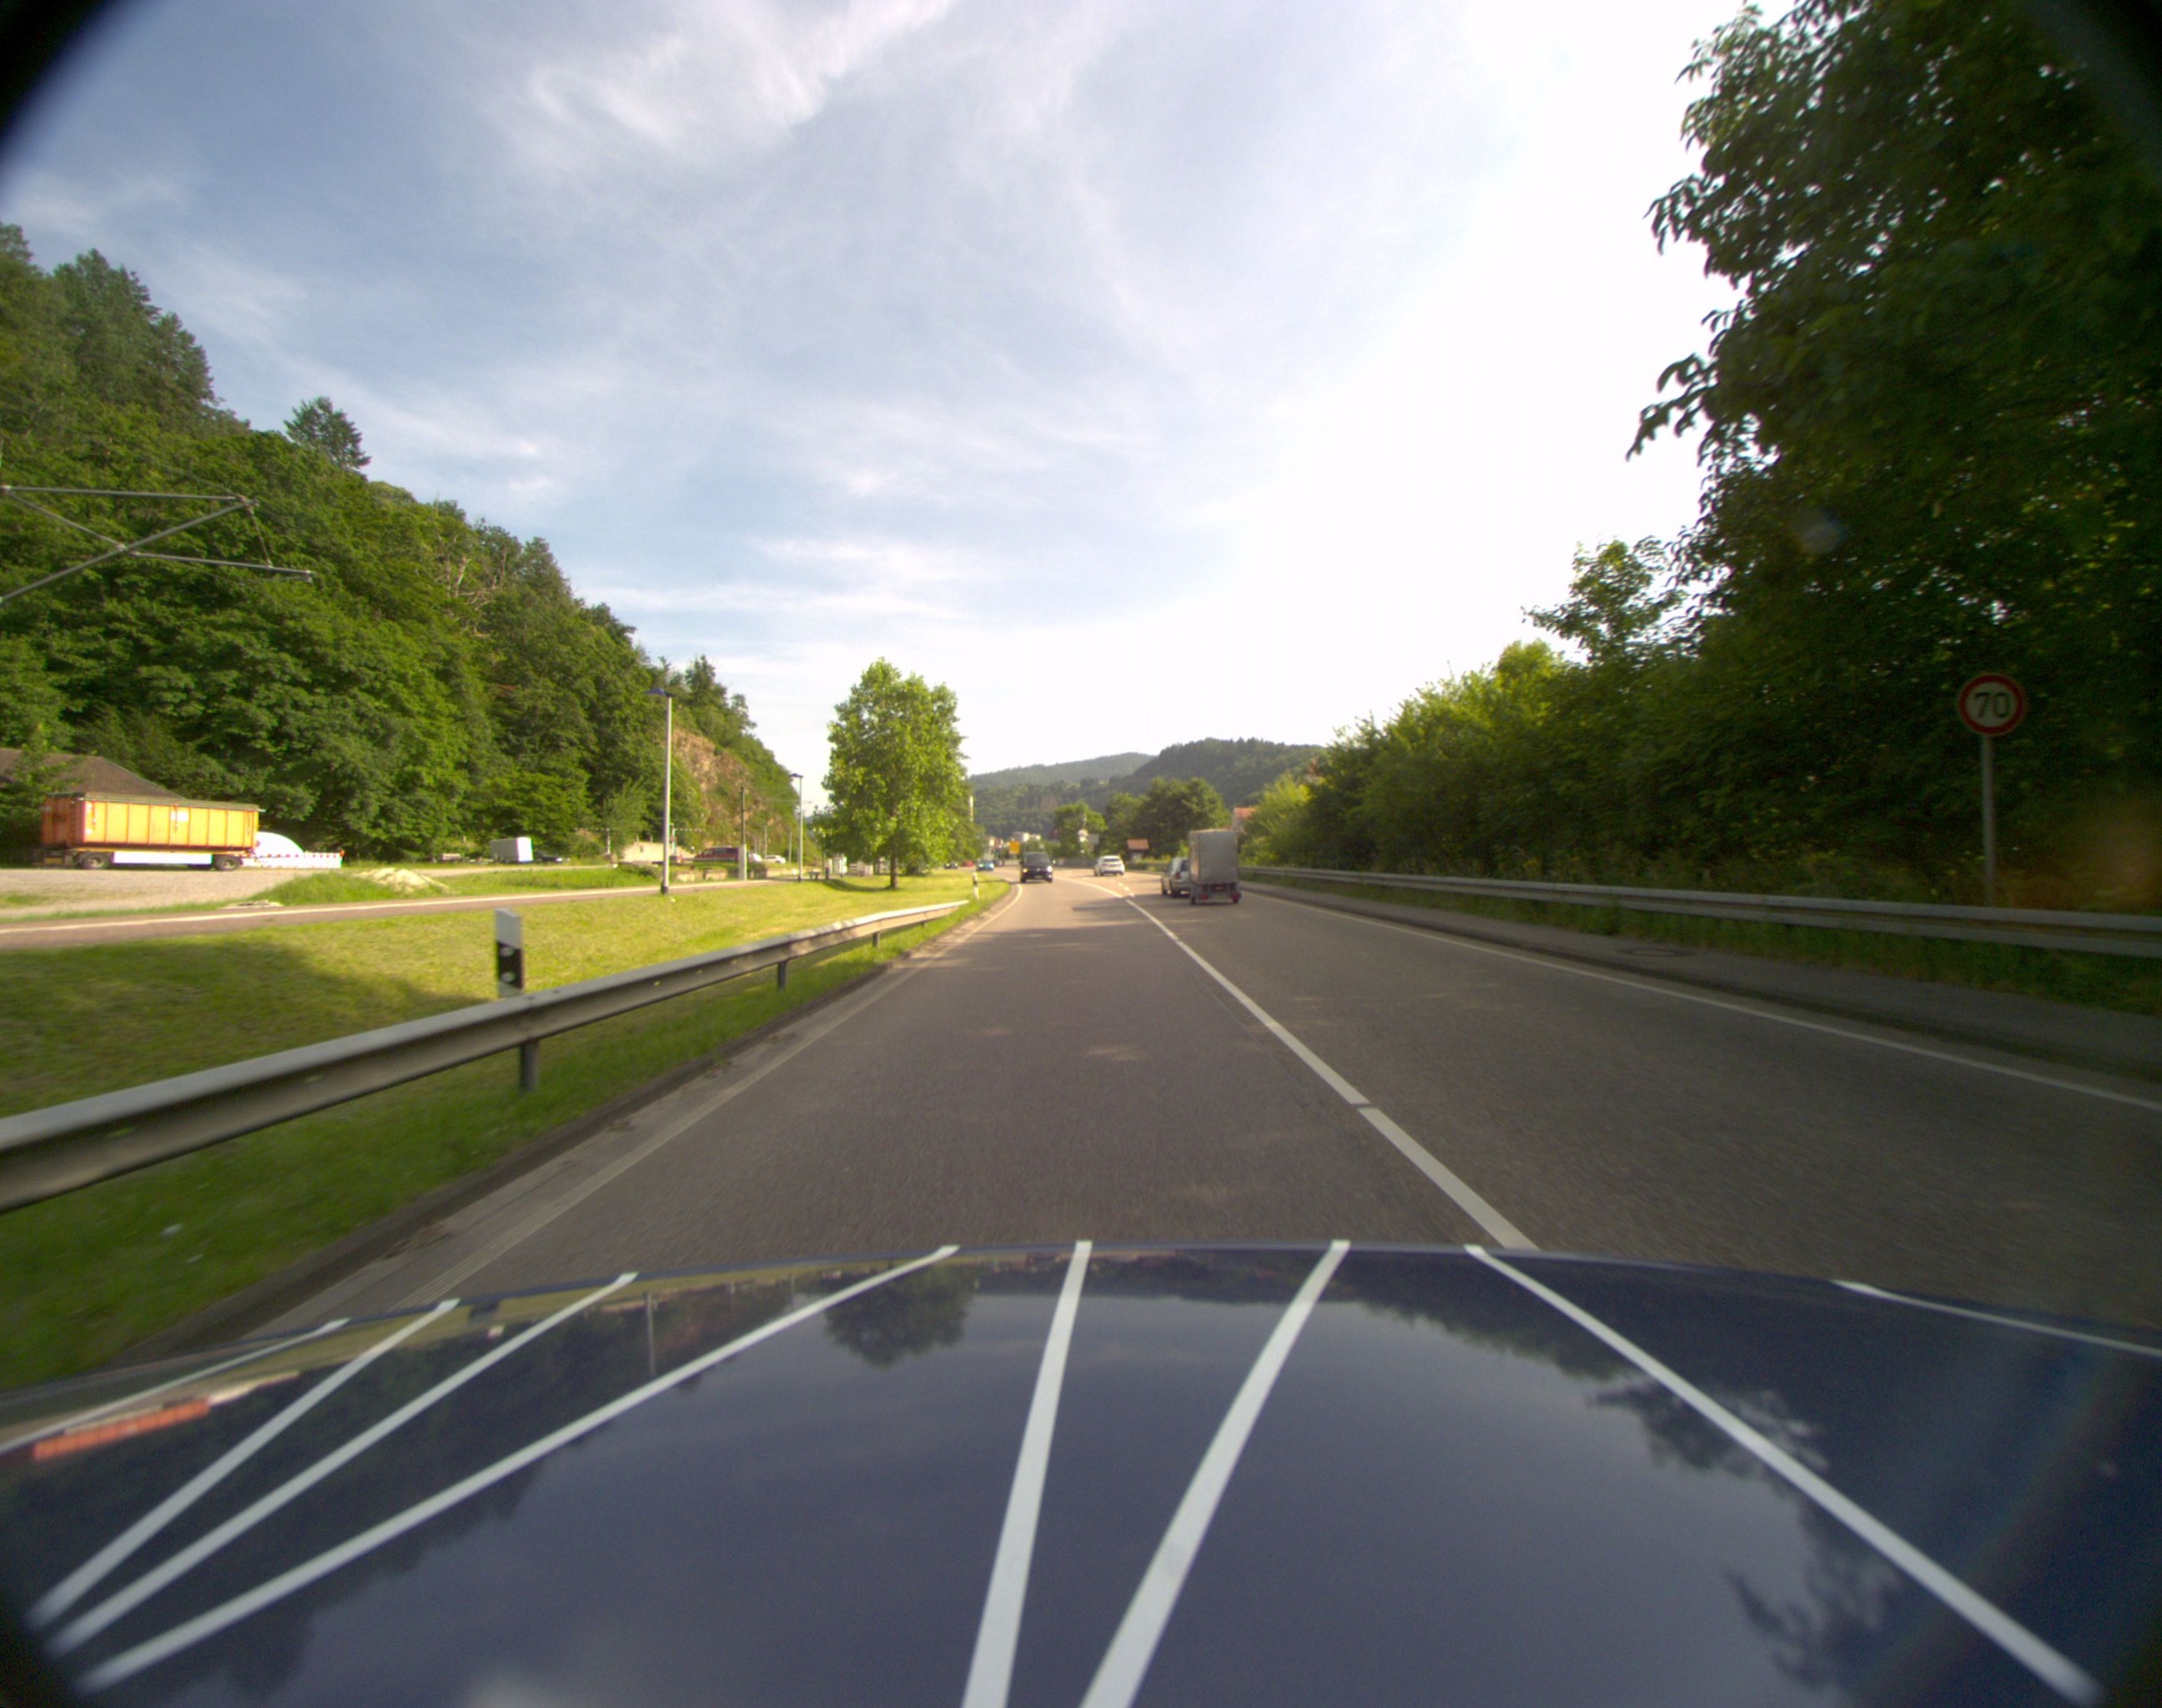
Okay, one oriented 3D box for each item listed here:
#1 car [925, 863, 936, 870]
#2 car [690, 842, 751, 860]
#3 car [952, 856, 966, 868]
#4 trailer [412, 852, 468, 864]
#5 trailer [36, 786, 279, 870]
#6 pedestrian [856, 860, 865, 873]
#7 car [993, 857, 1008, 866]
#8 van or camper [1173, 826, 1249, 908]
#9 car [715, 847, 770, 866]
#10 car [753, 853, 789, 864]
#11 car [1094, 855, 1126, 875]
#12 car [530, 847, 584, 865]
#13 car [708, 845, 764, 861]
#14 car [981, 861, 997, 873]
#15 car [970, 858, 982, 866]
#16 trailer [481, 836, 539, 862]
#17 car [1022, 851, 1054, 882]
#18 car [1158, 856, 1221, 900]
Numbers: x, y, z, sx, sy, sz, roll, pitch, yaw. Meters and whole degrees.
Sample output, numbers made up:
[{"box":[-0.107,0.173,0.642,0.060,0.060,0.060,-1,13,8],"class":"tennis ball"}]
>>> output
[{"box":[-29.183,2.424,147.264,1.879,1.452,3.724,1,0,-16],"class":"car"},{"box":[-35.230,-0.251,74.343,4.968,1.681,1.934,-1,0,-11],"class":"car"},{"box":[-20.444,1.317,127.046,2.001,1.783,3.995,2,0,-12],"class":"car"},{"box":[-49.935,0.311,59.210,3.067,0.909,1.738,0,0,8],"class":"trailer"},{"box":[-47.218,-1.199,39.326,2.611,3.870,7.738,1,0,8],"class":"trailer"},{"box":[-19.541,1.120,67.310,0.637,1.154,0.726,1,0,-2],"class":"pedestrian"},{"box":[-13.852,1.266,130.610,1.858,1.461,4.536,-2,0,-16],"class":"car"},{"box":[4.029,0.397,24.155,1.607,2.315,4.059,-3,0,0],"class":"van or camper"},{"box":[-36.525,0.237,82.080,4.968,1.932,2.139,-1,0,-11],"class":"car"},{"box":[-40.309,0.600,98.929,4.110,1.390,1.808,-1,0,-11],"class":"car"},{"box":[2.213,0.867,59.736,1.950,1.477,4.583,-2,0,-4],"class":"car"},{"box":[-45.377,0.147,65.773,3.609,1.478,1.672,1,0,6],"class":"car"},{"box":[-36.129,-0.108,79.614,4.968,1.578,2.139,-1,0,-11],"class":"car"},{"box":[-11.585,1.569,95.562,1.769,1.452,3.573,1,0,-10],"class":"car"},{"box":[-20.722,1.588,149.829,1.682,1.451,4.196,-2,0,-16],"class":"car"},{"box":[-48.284,-0.421,64.277,3.699,2.177,1.820,0,0,8],"class":"trailer"},{"box":[-2.718,0.774,49.010,1.909,1.868,4.347,-1,0,-2],"class":"car"},{"box":[3.985,0.833,28.502,1.652,1.428,4.605,-2,0,0],"class":"car"}]
